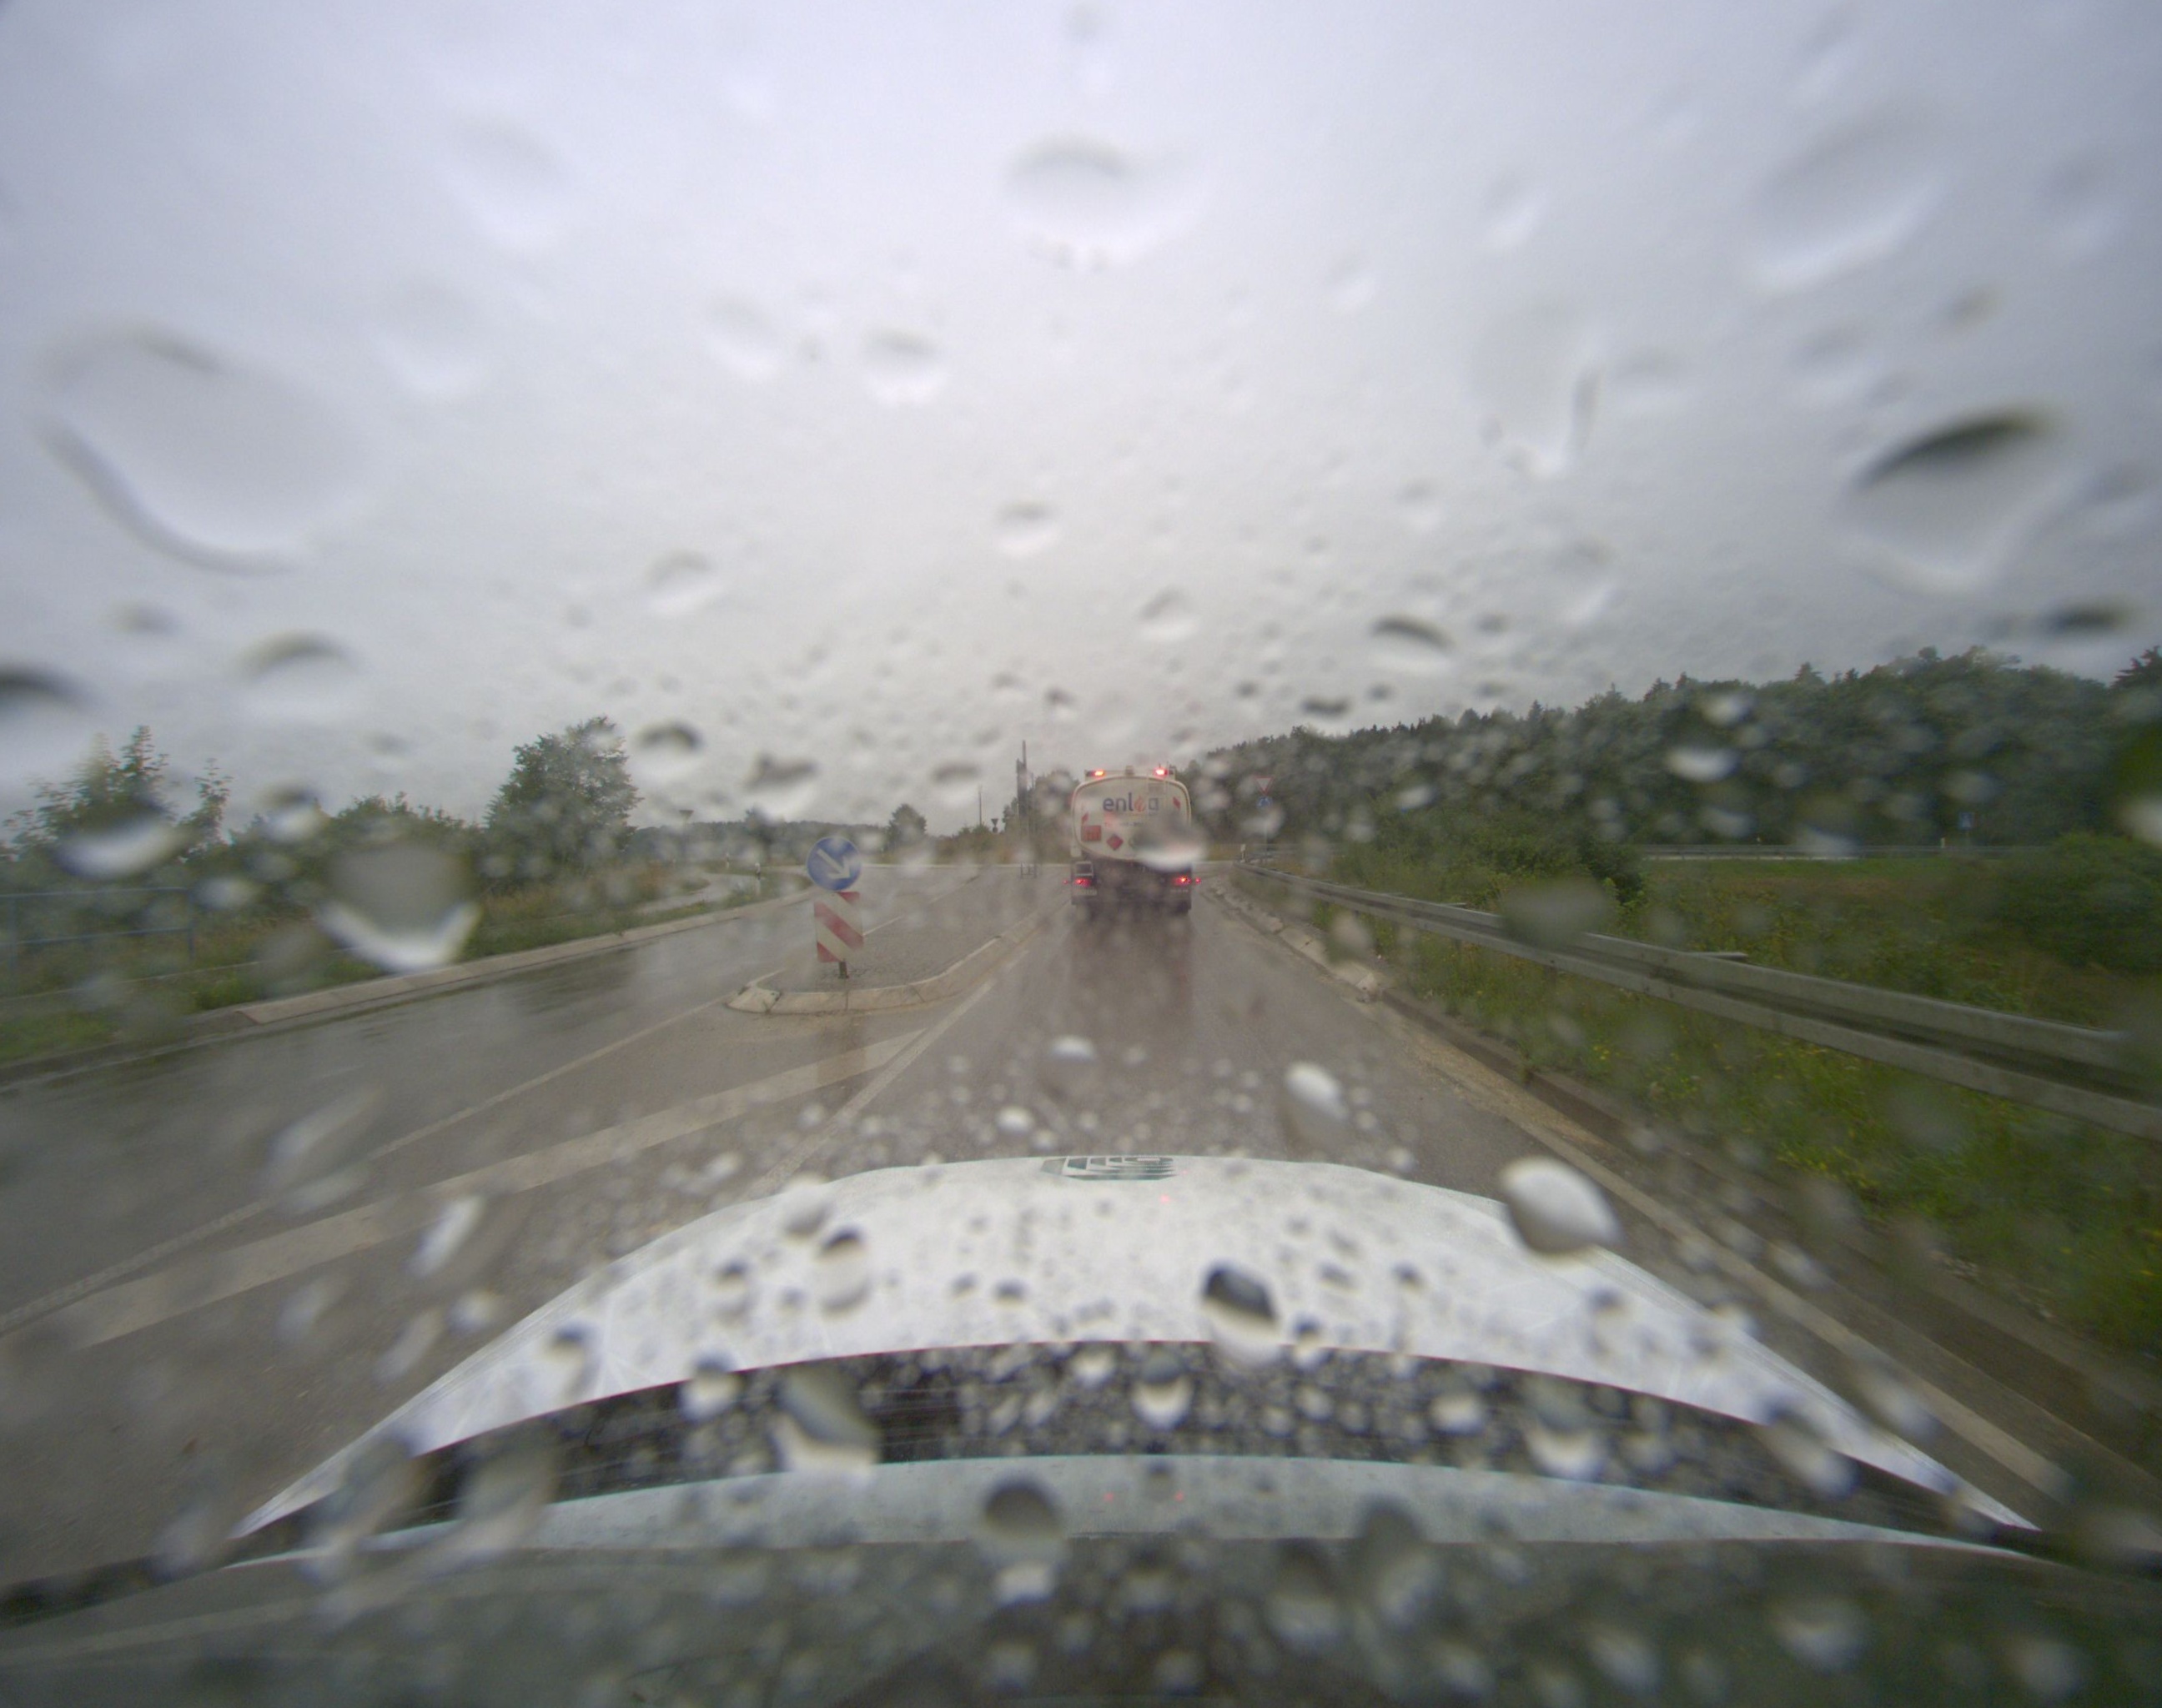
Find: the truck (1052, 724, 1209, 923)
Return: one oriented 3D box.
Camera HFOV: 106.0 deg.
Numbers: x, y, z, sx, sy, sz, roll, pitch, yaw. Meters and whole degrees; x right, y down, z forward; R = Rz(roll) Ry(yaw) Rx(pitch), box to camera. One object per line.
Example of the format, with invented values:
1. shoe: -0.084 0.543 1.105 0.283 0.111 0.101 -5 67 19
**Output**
1. truck: 1.419 -0.661 20.402 3.024 3.851 8.837 -1 1 6
